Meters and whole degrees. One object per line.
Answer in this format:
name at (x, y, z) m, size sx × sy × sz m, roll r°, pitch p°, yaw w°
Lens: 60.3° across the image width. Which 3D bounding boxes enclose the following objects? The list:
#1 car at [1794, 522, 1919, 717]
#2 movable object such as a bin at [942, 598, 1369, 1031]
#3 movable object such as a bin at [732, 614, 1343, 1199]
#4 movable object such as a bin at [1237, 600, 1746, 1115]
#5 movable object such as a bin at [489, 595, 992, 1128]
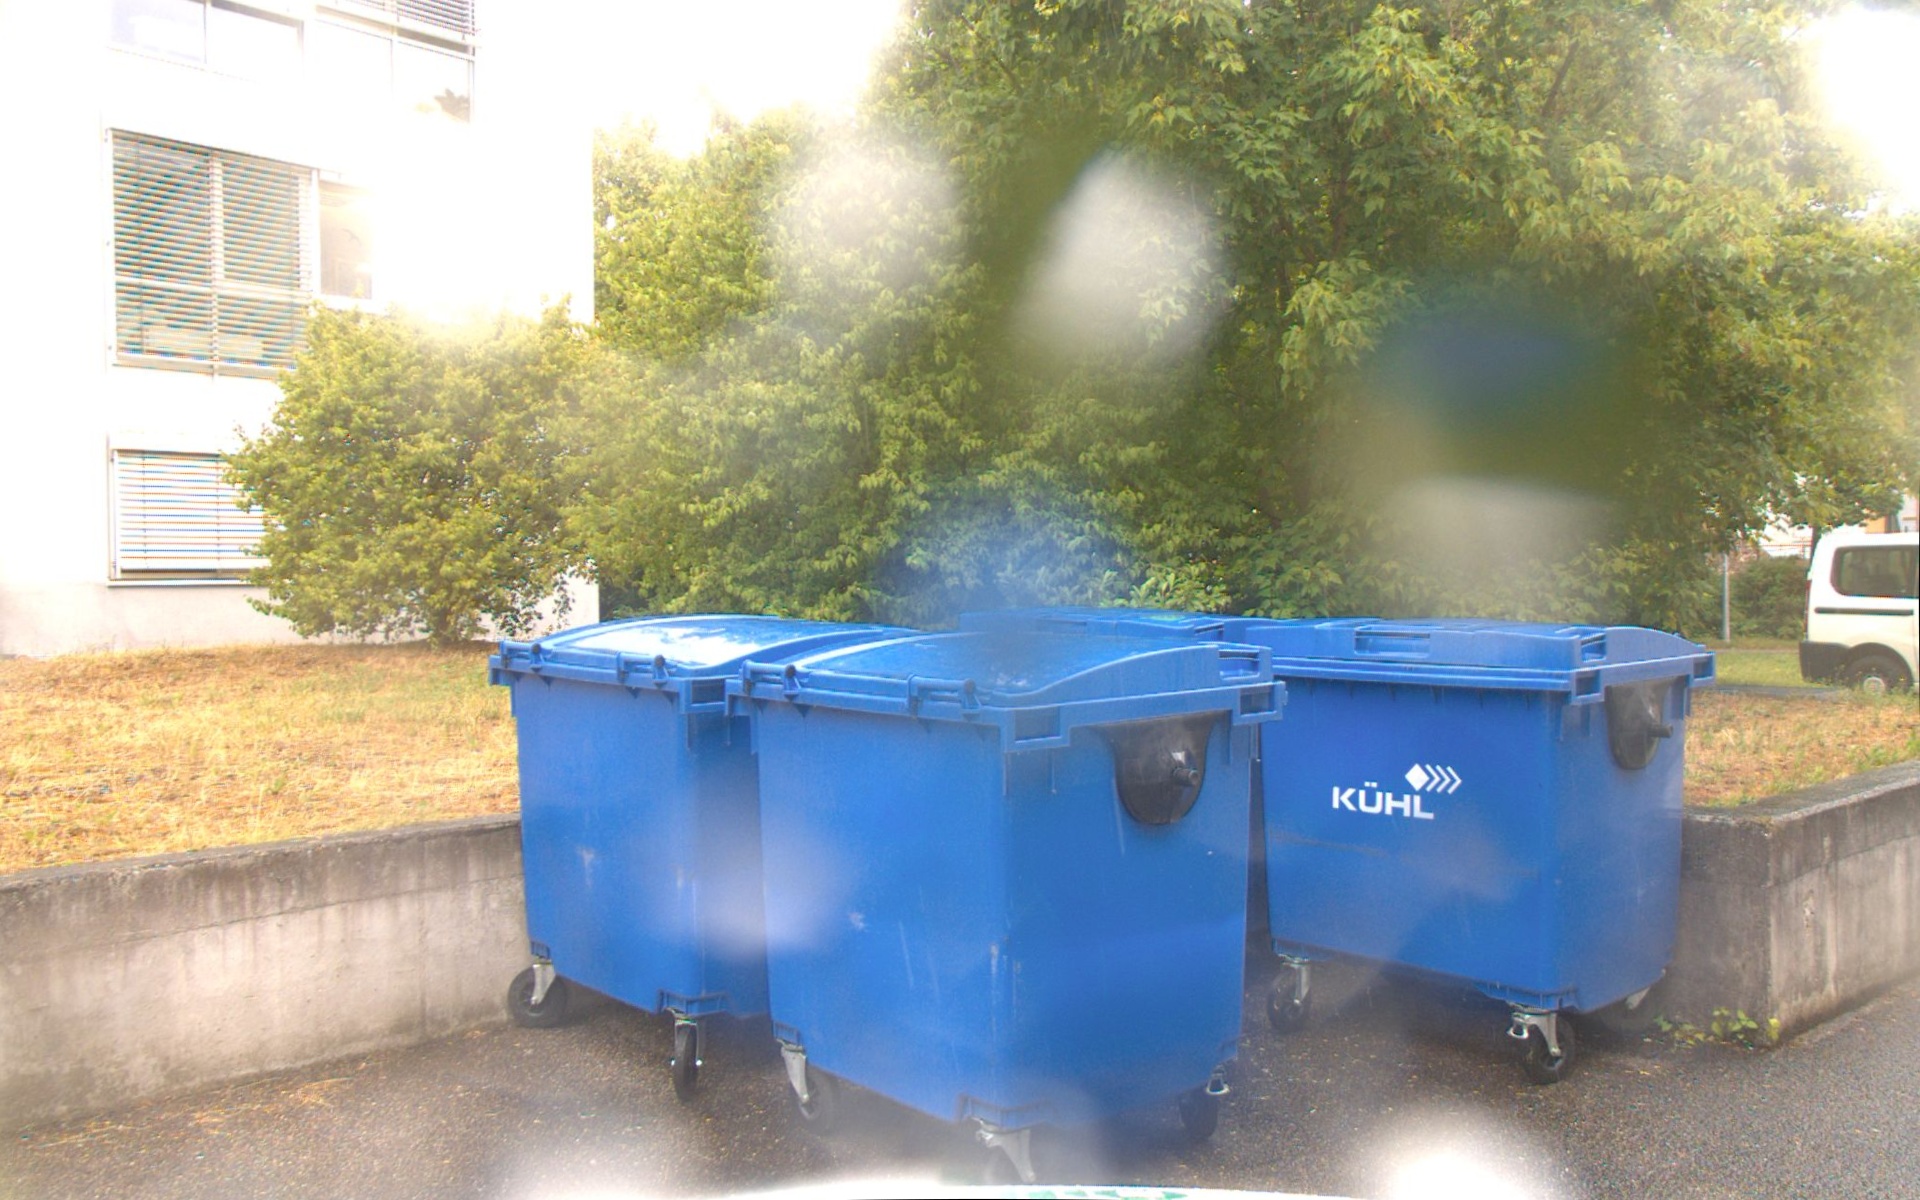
car at (11.518, 0.166, 17.150) m, size 1.983 × 2.049 × 4.723 m, roll -2°, pitch 1°, yaw -41°
movable object such as a bin at (0.714, 0.696, 6.150) m, size 0.998 × 1.360 × 1.206 m, roll -3°, pitch 2°, yaw -42°
movable object such as a bin at (0.182, 0.736, 4.340) m, size 1.105 × 1.360 × 1.190 m, roll -1°, pitch 1°, yaw -38°
movable object such as a bin at (1.674, 0.697, 5.257) m, size 0.998 × 1.360 × 1.206 m, roll -2°, pitch 1°, yaw -42°
movable object such as a bin at (-0.708, 0.711, 5.297) m, size 1.108 × 1.360 × 1.188 m, roll -4°, pitch 4°, yaw -42°
